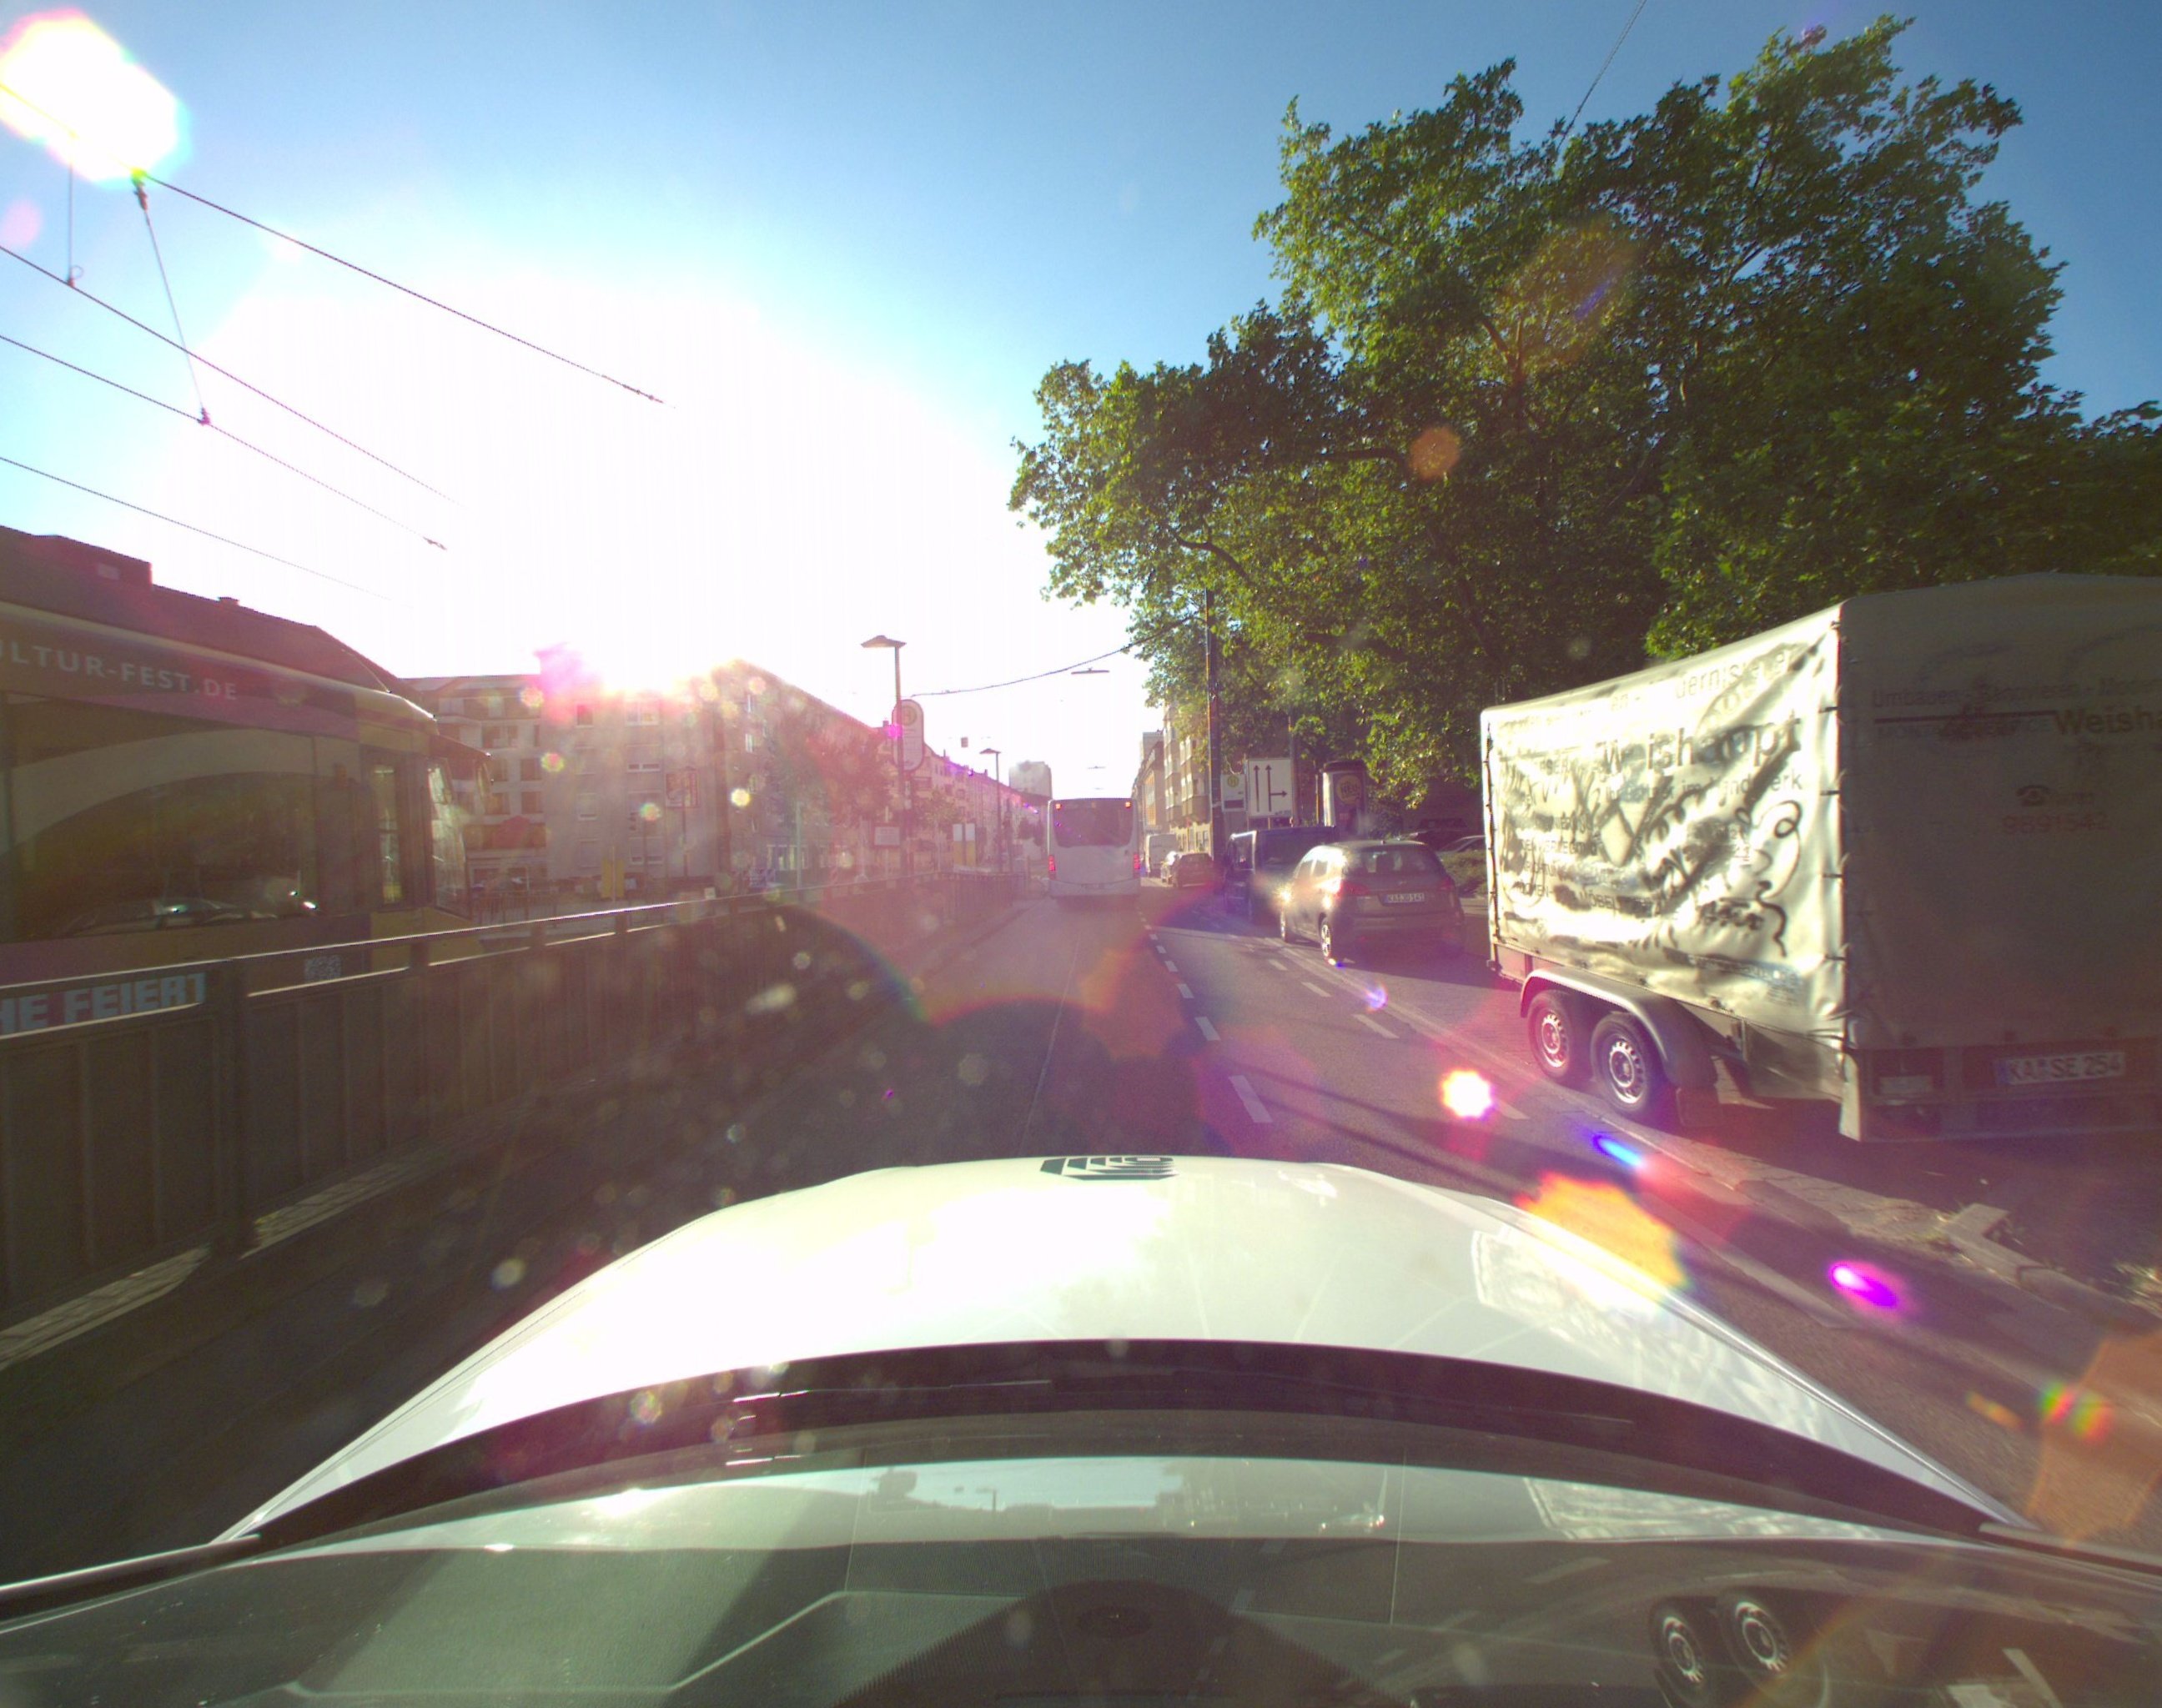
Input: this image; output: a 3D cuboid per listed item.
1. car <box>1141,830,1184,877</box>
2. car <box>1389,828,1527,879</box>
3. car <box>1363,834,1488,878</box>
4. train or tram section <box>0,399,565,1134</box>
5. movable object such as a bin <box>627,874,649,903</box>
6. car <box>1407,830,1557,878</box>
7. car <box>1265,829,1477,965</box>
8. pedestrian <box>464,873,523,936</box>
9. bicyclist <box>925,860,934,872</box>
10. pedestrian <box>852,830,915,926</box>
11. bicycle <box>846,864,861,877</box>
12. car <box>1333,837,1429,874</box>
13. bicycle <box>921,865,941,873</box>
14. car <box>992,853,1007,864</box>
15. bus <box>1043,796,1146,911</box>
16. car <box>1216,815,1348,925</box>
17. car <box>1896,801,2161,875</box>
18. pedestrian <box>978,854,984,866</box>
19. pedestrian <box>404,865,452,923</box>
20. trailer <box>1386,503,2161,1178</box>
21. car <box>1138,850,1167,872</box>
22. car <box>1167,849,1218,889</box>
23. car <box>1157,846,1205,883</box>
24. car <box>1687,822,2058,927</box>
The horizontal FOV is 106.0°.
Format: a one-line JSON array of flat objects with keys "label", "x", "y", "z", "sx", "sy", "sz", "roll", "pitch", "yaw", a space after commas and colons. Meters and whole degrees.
[{"label": "car", "x": 4.958, "y": -0.021, "z": 50.423, "sx": 2.009, "sy": 2.551, "sz": 5.787, "roll": -6, "pitch": 0, "yaw": 2}, {"label": "car", "x": 12.601, "y": -0.030, "z": 27.420, "sx": 3.825, "sy": 1.631, "sz": 1.858, "roll": 0, "pitch": 0, "yaw": 2}, {"label": "car", "x": 12.476, "y": 0.057, "z": 29.662, "sx": 3.825, "sy": 1.495, "sz": 1.858, "roll": 1, "pitch": 0, "yaw": 2}, {"label": "train or tram section", "x": -6.659, "y": -0.371, "z": 2.852, "sx": 3.025, "sy": 3.517, "sz": 10.096, "roll": -3, "pitch": -1, "yaw": 0}, {"label": "movable object such as a bin", "x": -22.566, "y": 1.735, "z": 41.515, "sx": 0.661, "sy": 1.400, "sz": 0.749, "roll": -3, "pitch": 0, "yaw": 0}, {"label": "car", "x": 12.468, "y": -0.030, "z": 25.485, "sx": 3.825, "sy": 1.436, "sz": 1.804, "roll": 0, "pitch": 1, "yaw": 2}, {"label": "car", "x": 4.048, "y": 0.531, "z": 12.109, "sx": 1.789, "sy": 1.630, "sz": 4.002, "roll": -2, "pitch": 0, "yaw": 2}, {"label": "pedestrian", "x": -16.128, "y": 1.376, "z": 22.378, "sx": 0.916, "sy": 1.654, "sz": 0.941, "roll": 0, "pitch": 0, "yaw": 12}, {"label": "bicyclist", "x": -16.204, "y": 1.280, "z": 87.265, "sx": 0.932, "sy": 1.161, "sz": 0.641, "roll": -2, "pitch": 0, "yaw": -10}, {"label": "pedestrian", "x": -3.303, "y": 0.389, "z": 13.685, "sx": 0.915, "sy": 1.550, "sz": 0.787, "roll": -1, "pitch": 0, "yaw": -7}, {"label": "bicycle", "x": -20.714, "y": 1.536, "z": 74.173, "sx": 0.744, "sy": 1.115, "sz": 1.779, "roll": -2, "pitch": 0, "yaw": 2}, {"label": "car", "x": 12.736, "y": 0.047, "z": 34.707, "sx": 3.486, "sy": 1.482, "sz": 1.774, "roll": 1, "pitch": 0, "yaw": 0}, {"label": "bicycle", "x": -16.037, "y": 1.621, "z": 87.291, "sx": 2.063, "sy": 0.732, "sz": 0.760, "roll": -2, "pitch": 0, "yaw": -10}, {"label": "car", "x": -15.493, "y": 0.911, "z": 154.782, "sx": 1.983, "sy": 2.013, "sz": 4.007, "roll": -2, "pitch": 0, "yaw": 6}, {"label": "bus", "x": 0.496, "y": -0.029, "z": 26.311, "sx": 2.728, "sy": 3.056, "sz": 8.857, "roll": -1, "pitch": 0, "yaw": 2}, {"label": "car", "x": 4.299, "y": 0.313, "z": 18.158, "sx": 1.878, "sy": 2.078, "sz": 4.565, "roll": -2, "pitch": 0, "yaw": 2}, {"label": "car", "x": 22.866, "y": -0.368, "z": 19.773, "sx": 4.271, "sy": 1.534, "sz": 1.998, "roll": -2, "pitch": 0, "yaw": -3}, {"label": "pedestrian", "x": -17.386, "y": 1.108, "z": 141.834, "sx": 0.886, "sy": 2.013, "sz": 0.788, "roll": -2, "pitch": 0, "yaw": -5}, {"label": "pedestrian", "x": -21.687, "y": 1.309, "z": 27.080, "sx": 0.750, "sy": 1.882, "sz": 1.000, "roll": 1, "pitch": 0, "yaw": 0}, {"label": "trailer", "x": 3.856, "y": -0.064, "z": 5.506, "sx": 1.878, "sy": 2.588, "sz": 4.653, "roll": -2, "pitch": 0, "yaw": 2}, {"label": "car", "x": 5.348, "y": 0.525, "z": 61.319, "sx": 1.831, "sy": 1.536, "sz": 4.232, "roll": -3, "pitch": 0, "yaw": 2}, {"label": "car", "x": 4.590, "y": 0.588, "z": 33.981, "sx": 1.564, "sy": 1.494, "sz": 3.626, "roll": -4, "pitch": 0, "yaw": 0}, {"label": "car", "x": 4.817, "y": 0.492, "z": 39.700, "sx": 1.691, "sy": 1.530, "sz": 4.652, "roll": -5, "pitch": 0, "yaw": 0}, {"label": "car", "x": 12.349, "y": 0.296, "z": 12.929, "sx": 4.095, "sy": 1.550, "sz": 1.804, "roll": 0, "pitch": 0, "yaw": 2}]
